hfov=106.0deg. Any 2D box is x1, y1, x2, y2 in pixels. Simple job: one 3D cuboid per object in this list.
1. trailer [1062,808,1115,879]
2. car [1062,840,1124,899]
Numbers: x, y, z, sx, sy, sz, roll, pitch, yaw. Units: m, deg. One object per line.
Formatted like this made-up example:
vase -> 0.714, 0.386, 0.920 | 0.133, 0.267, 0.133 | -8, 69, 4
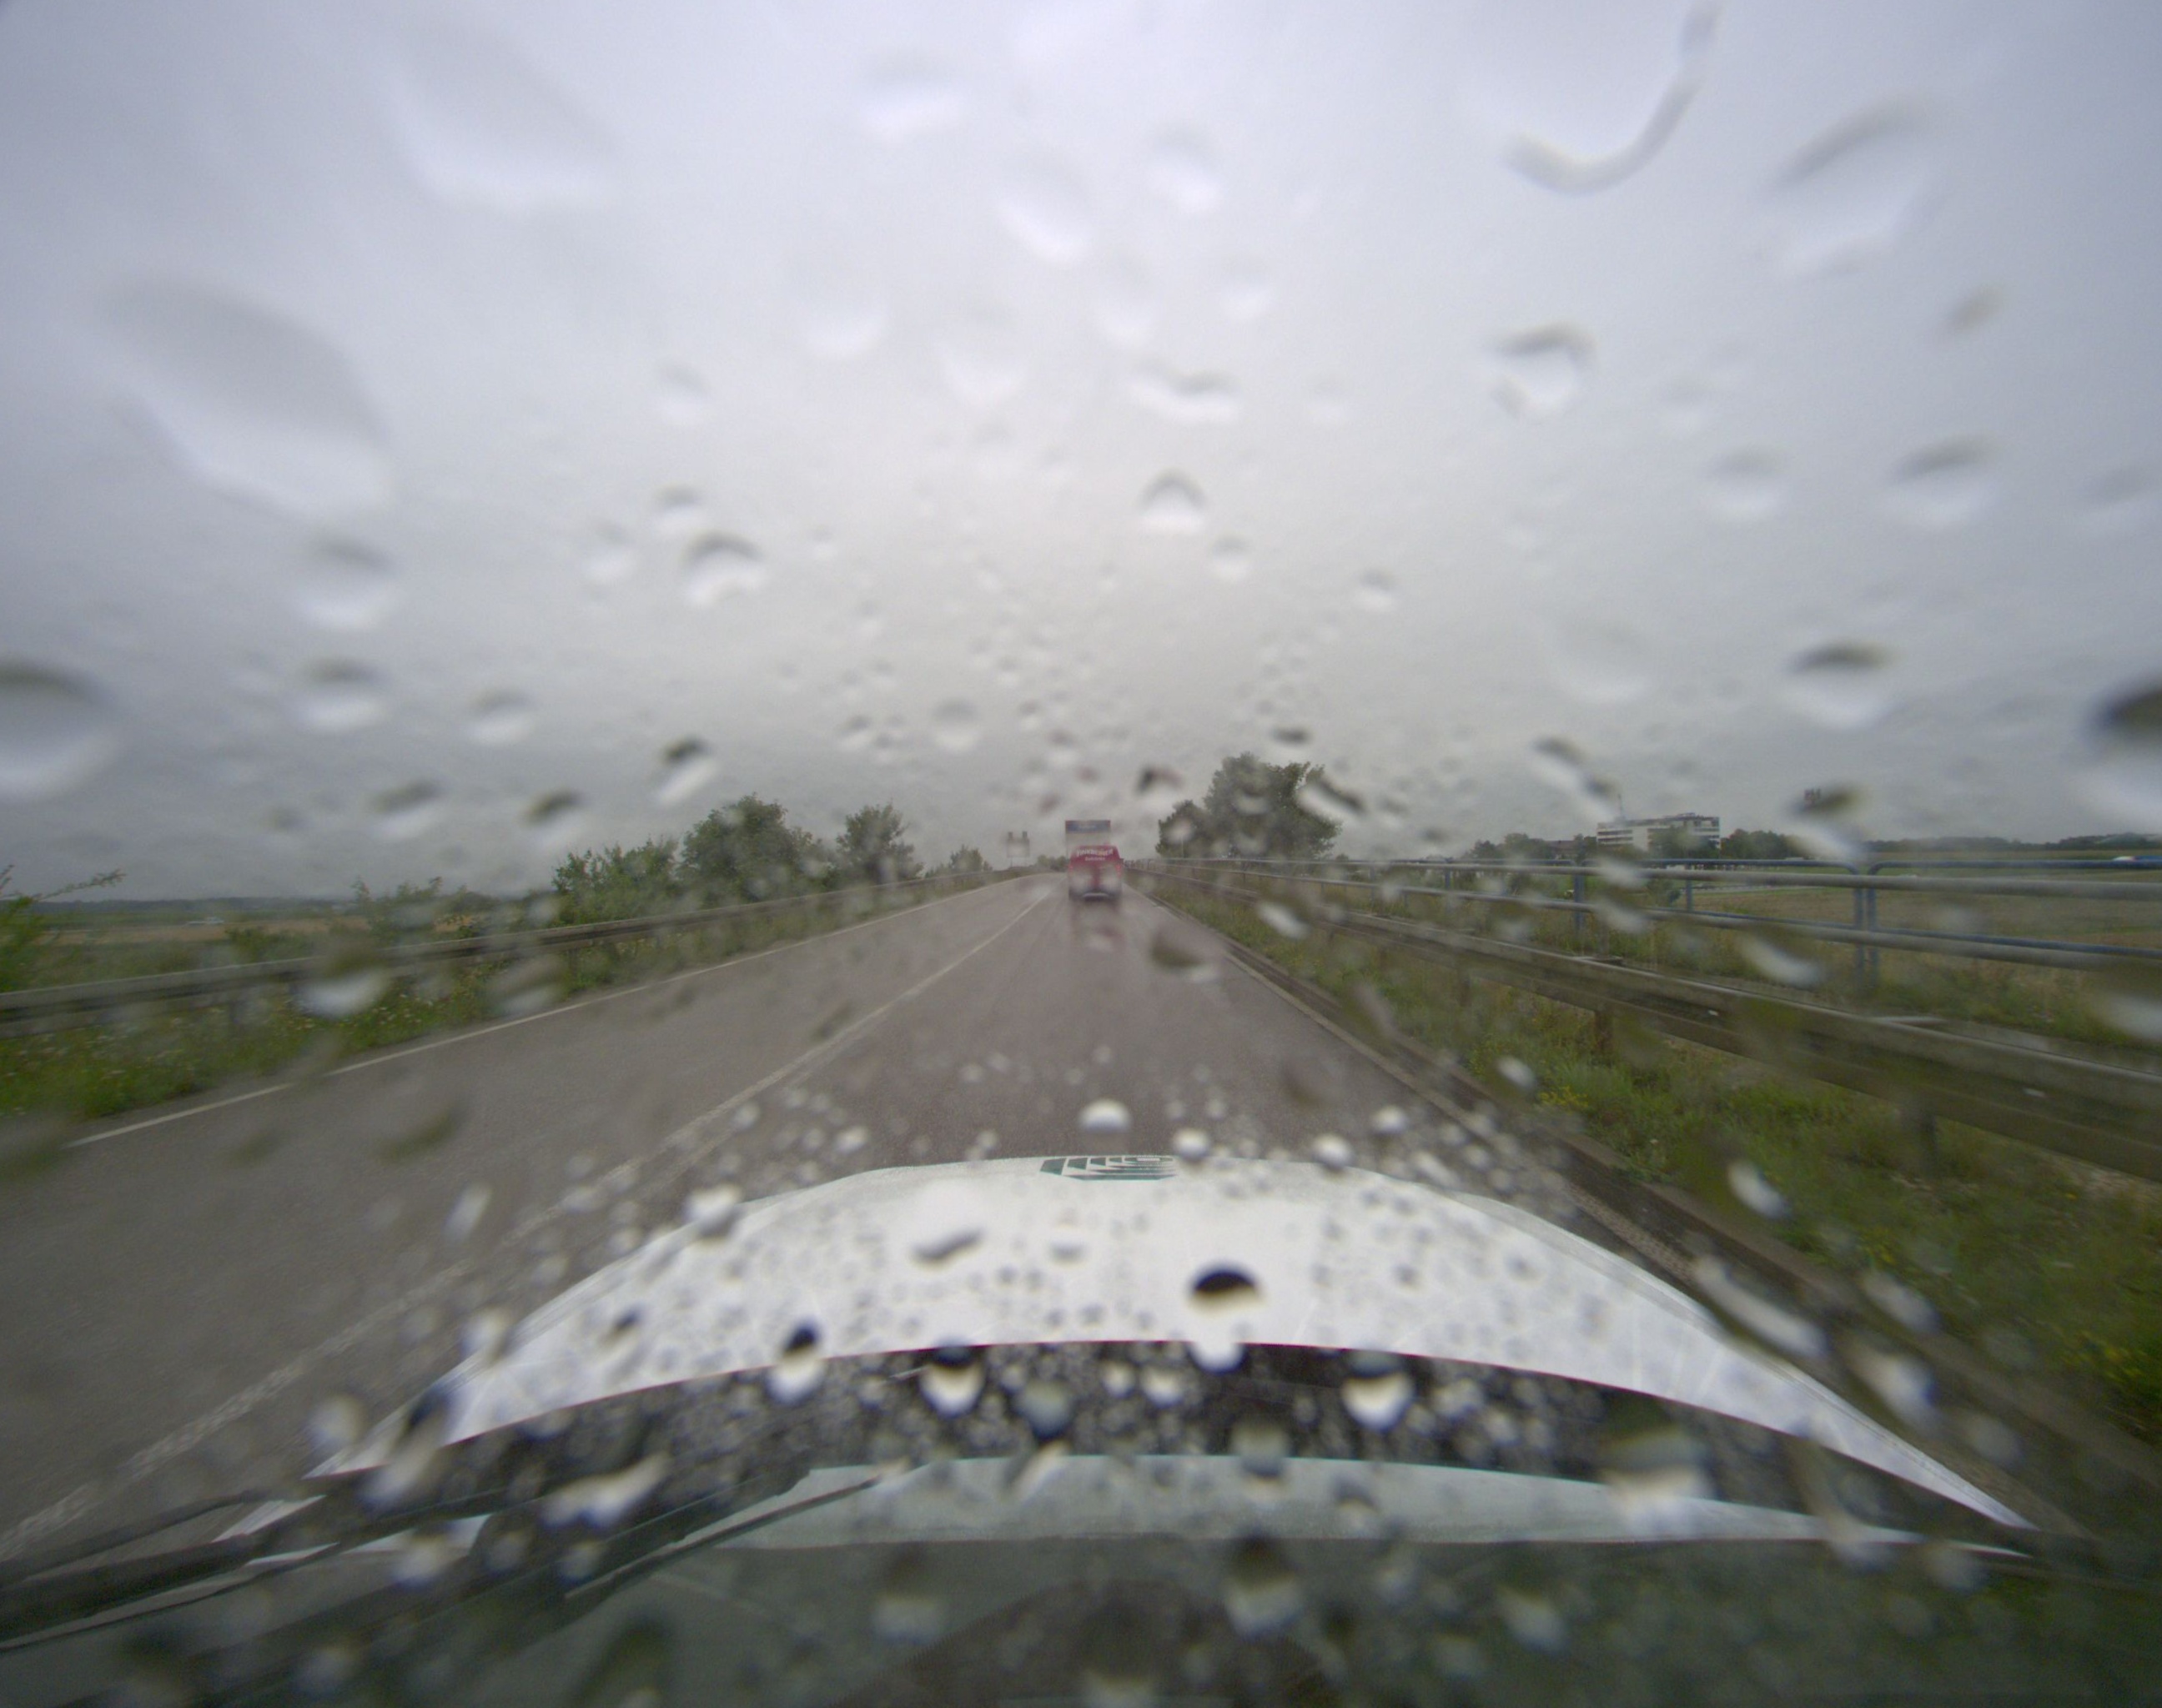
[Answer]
trailer -> 0.610, -0.506, 50.048 | 2.821, 3.819, 9.718 | -2, -1, 2
car -> 0.466, 0.551, 29.646 | 1.986, 1.870, 4.980 | -3, -1, 2
